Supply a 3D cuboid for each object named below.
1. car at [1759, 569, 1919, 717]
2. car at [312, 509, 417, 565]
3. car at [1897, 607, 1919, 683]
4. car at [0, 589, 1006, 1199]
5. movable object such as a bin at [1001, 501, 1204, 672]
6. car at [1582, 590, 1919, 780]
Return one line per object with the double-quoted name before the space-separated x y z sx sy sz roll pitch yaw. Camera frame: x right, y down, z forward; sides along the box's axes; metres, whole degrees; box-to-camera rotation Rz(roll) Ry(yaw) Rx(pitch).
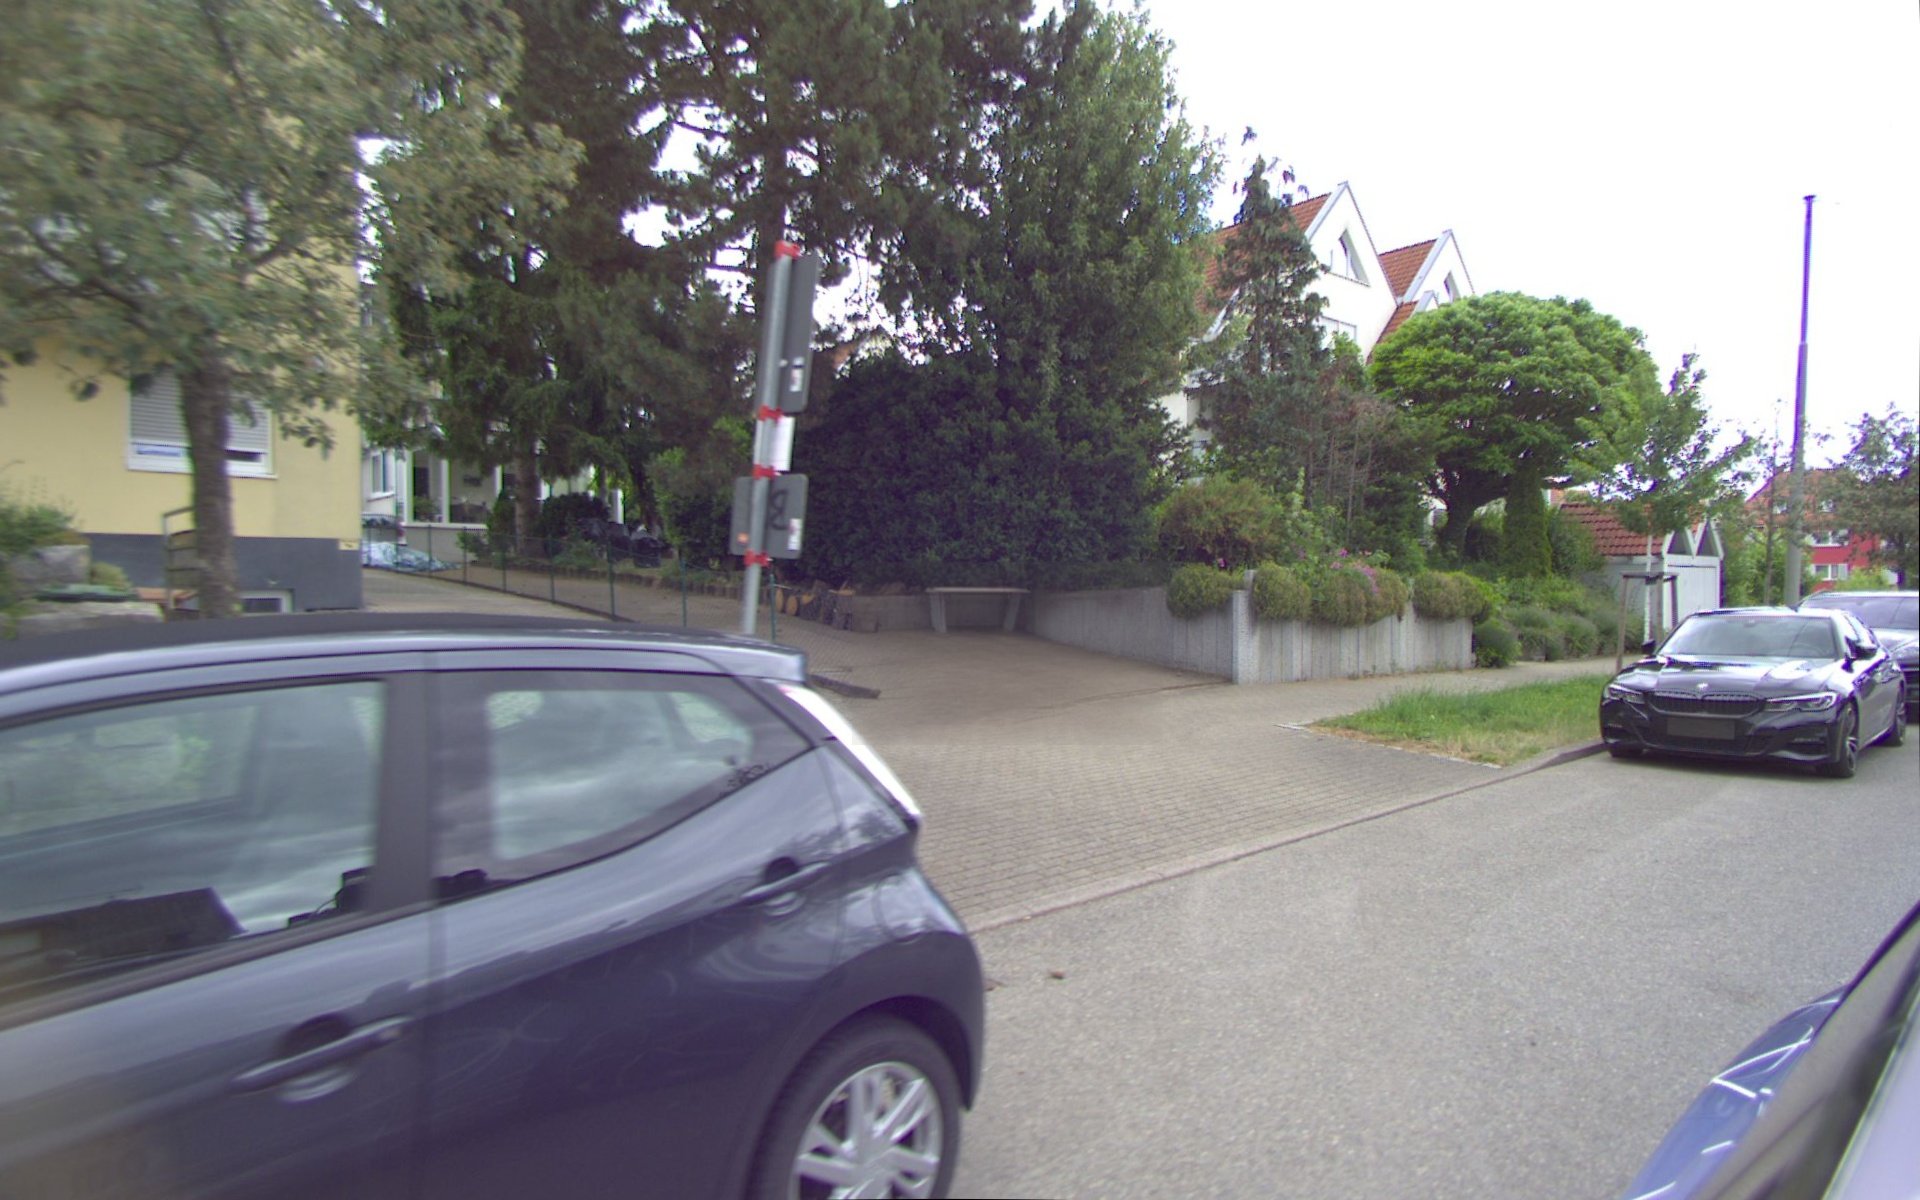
"car" 12.628 0.477 13.762 4.467 1.733 1.834 -1 1 -39
"car" -17.216 -1.782 29.200 3.770 1.485 1.730 3 2 45
"car" 17.784 0.735 17.730 3.814 1.252 1.484 -1 -1 -39
"car" -1.679 0.728 1.749 3.448 1.461 1.559 -1 0 -43
"movable object such as a bin" 1.840 -0.154 13.357 1.321 2.039 2.312 -1 -1 -43
"car" 8.040 0.662 10.066 4.469 1.475 1.833 -1 -1 -40
